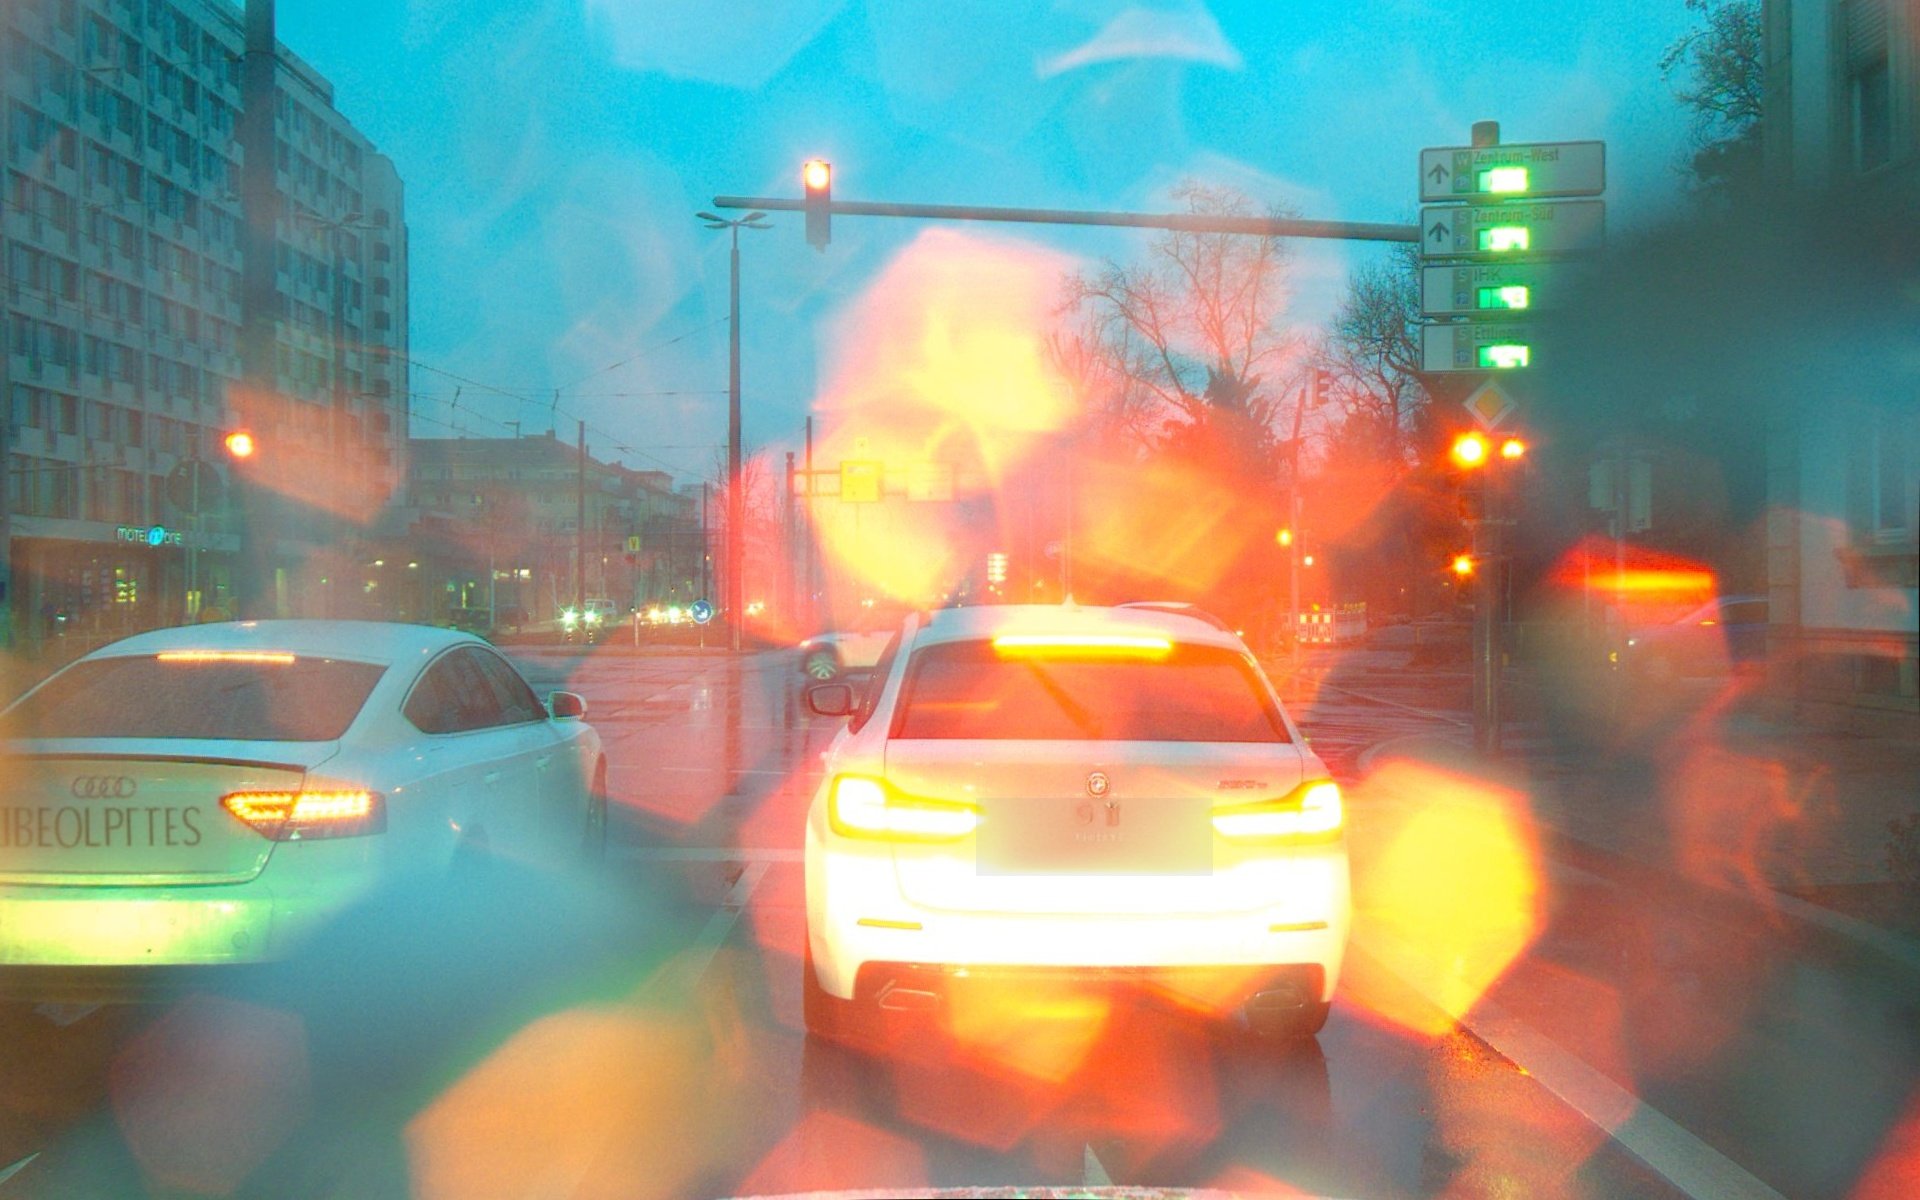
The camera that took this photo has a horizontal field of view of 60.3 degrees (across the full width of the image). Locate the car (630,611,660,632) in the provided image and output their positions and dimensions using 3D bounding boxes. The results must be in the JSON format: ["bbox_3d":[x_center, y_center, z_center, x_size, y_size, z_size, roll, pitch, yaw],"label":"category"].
[{"bbox_3d":[-24.430,1.655,128.268,1.641,1.534,3.695,1,-1,-1],"label":"car"}]

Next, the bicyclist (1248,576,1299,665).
[{"bbox_3d":[6.417,0.419,33.835,0.951,1.789,0.814,1,-1,13],"label":"bicyclist"}]

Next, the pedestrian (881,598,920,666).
[{"bbox_3d":[-1.679,0.899,46.742,0.883,1.888,0.813,1,-1,14],"label":"pedestrian"}]

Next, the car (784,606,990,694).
[{"bbox_3d":[-1.326,0.916,30.915,3.609,1.504,1.629,1,-1,6],"label":"car"}]

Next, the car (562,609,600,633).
[{"bbox_3d":[-24.683,1.378,107.856,1.641,1.534,3.695,1,-1,-1],"label":"car"}]

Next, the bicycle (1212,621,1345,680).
[{"bbox_3d":[6.506,1.027,33.799,2.610,1.108,0.815,1,-1,14],"label":"bicycle"}]

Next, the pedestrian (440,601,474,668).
[{"bbox_3d":[-13.421,0.919,44.142,0.777,1.741,0.809,2,-1,-16],"label":"pedestrian"}]

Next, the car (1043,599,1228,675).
[{"bbox_3d":[4.016,0.834,37.716,3.873,1.581,1.749,1,-1,20],"label":"car"}]

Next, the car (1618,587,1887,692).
[{"bbox_3d":[13.434,0.655,28.276,3.903,1.651,1.720,1,-1,17],"label":"car"}]

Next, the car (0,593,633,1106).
[{"bbox_3d":[-2.708,0.721,6.997,1.954,1.481,4.366,0,0,-3],"label":"car"}]

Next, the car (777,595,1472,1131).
[{"bbox_3d":[0.374,0.730,6.825,1.954,1.481,4.366,0,0,-3],"label":"car"}]
